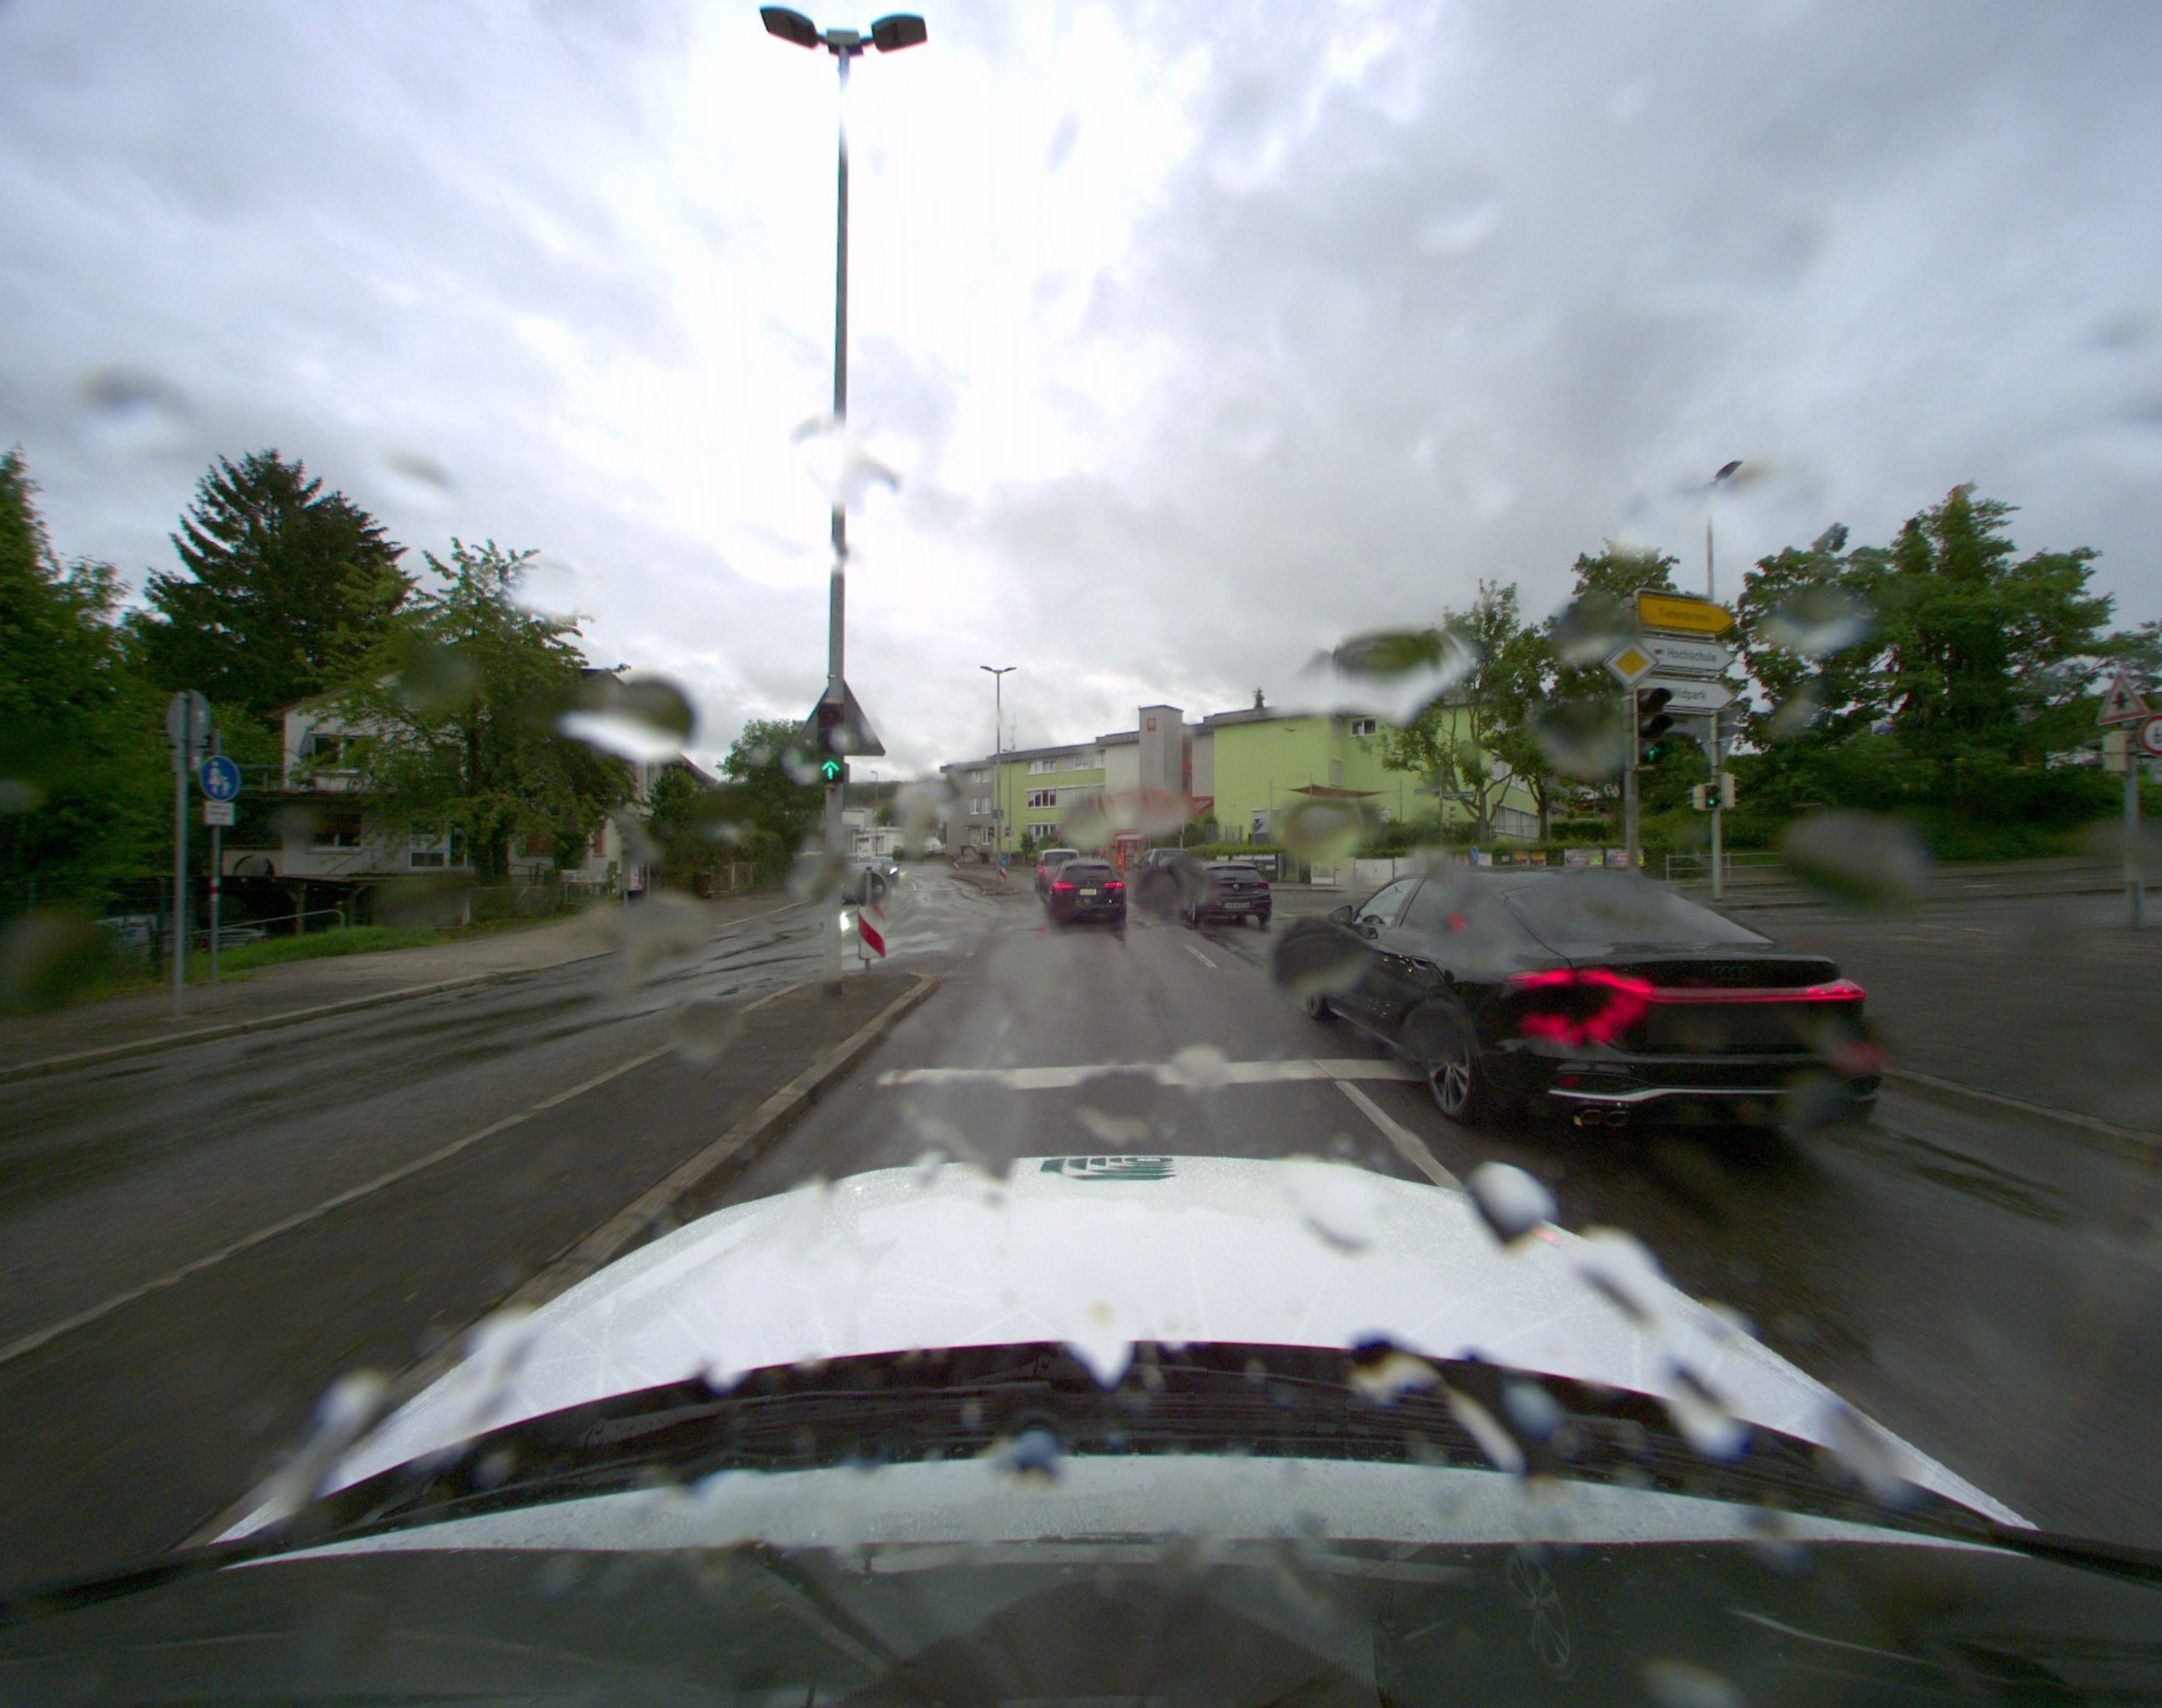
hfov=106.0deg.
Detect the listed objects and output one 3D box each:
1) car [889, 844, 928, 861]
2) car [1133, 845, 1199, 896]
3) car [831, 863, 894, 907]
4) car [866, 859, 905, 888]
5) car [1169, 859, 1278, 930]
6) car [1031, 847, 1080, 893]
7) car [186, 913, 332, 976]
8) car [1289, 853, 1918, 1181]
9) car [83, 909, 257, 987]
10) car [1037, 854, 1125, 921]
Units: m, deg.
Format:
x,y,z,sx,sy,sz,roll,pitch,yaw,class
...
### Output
x,y,z,sx,sy,sz,roll,pitch,yaw,class
-20.701,-0.156,97.574,4.402,1.772,1.990,-3,0,-15,car
3.133,0.580,30.793,1.779,1.734,4.081,-3,0,-3,car
-8.240,1.121,31.039,1.792,1.489,4.142,-2,0,-8,car
-11.212,1.094,46.971,1.849,1.564,3.988,-1,0,-9,car
3.366,0.903,20.030,1.845,1.486,4.084,-1,0,-2,car
-1.175,0.657,35.698,1.715,1.844,4.076,-2,1,-7,car
-25.455,2.739,25.418,1.803,1.484,3.967,-5,0,-24,car
2.904,0.725,5.885,1.701,1.427,4.509,-1,0,1,car
-27.778,2.785,25.045,1.801,1.859,3.972,-5,0,-20,car
-0.096,0.790,20.845,1.682,1.506,3.762,-1,0,-9,car
